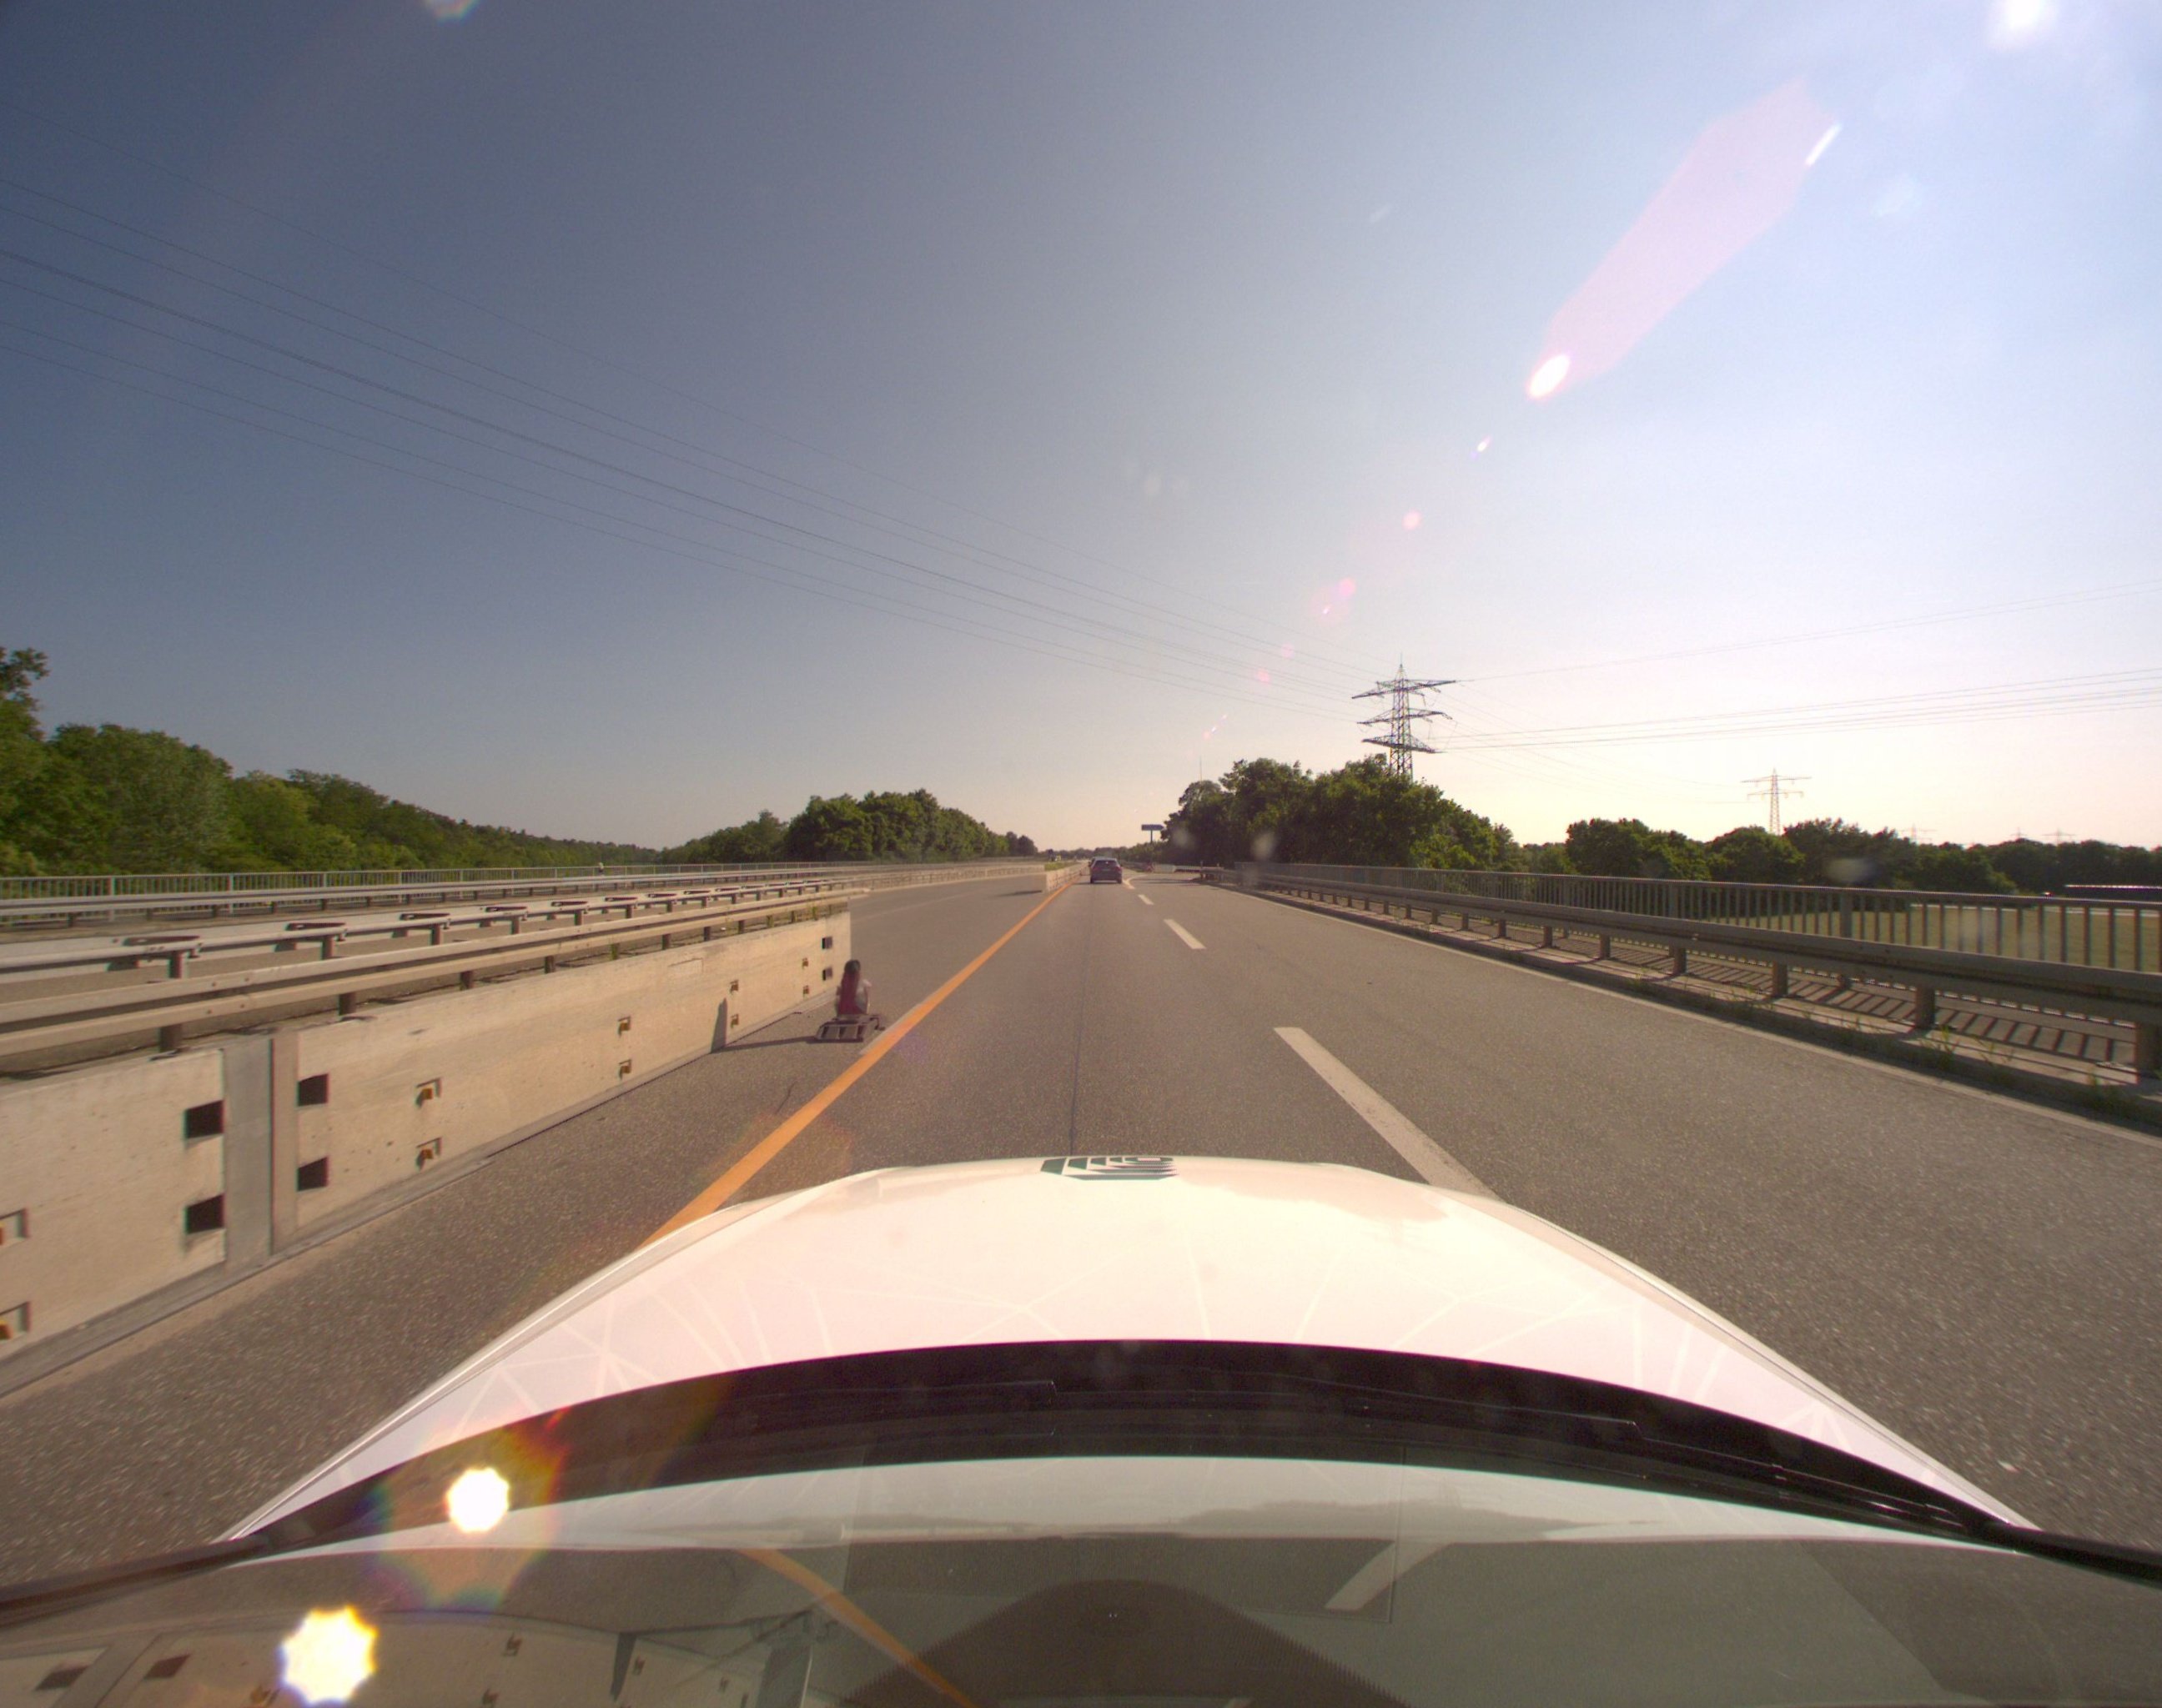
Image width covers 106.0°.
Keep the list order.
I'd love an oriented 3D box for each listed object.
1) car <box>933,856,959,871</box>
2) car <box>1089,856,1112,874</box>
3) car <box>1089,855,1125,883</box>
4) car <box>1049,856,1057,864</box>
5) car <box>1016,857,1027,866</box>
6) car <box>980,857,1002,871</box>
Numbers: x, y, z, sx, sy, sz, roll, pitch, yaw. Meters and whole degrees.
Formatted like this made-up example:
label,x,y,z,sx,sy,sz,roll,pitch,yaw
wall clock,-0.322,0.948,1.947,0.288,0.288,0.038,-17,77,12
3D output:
label,x,y,z,sx,sy,sz,roll,pitch,yaw
car,-13.502,0.974,81.722,1.771,1.393,4.126,-2,0,1
car,1.744,0.965,72.381,1.986,1.567,4.002,-1,0,2
car,1.442,0.832,46.437,1.914,1.494,3.999,0,0,0
car,-7.628,1.646,223.858,1.986,2.034,5.169,-1,0,1
car,-11.502,1.501,157.967,1.757,1.583,4.423,-2,-1,1
car,-9.197,1.015,83.373,1.708,1.397,4.221,-1,0,0
